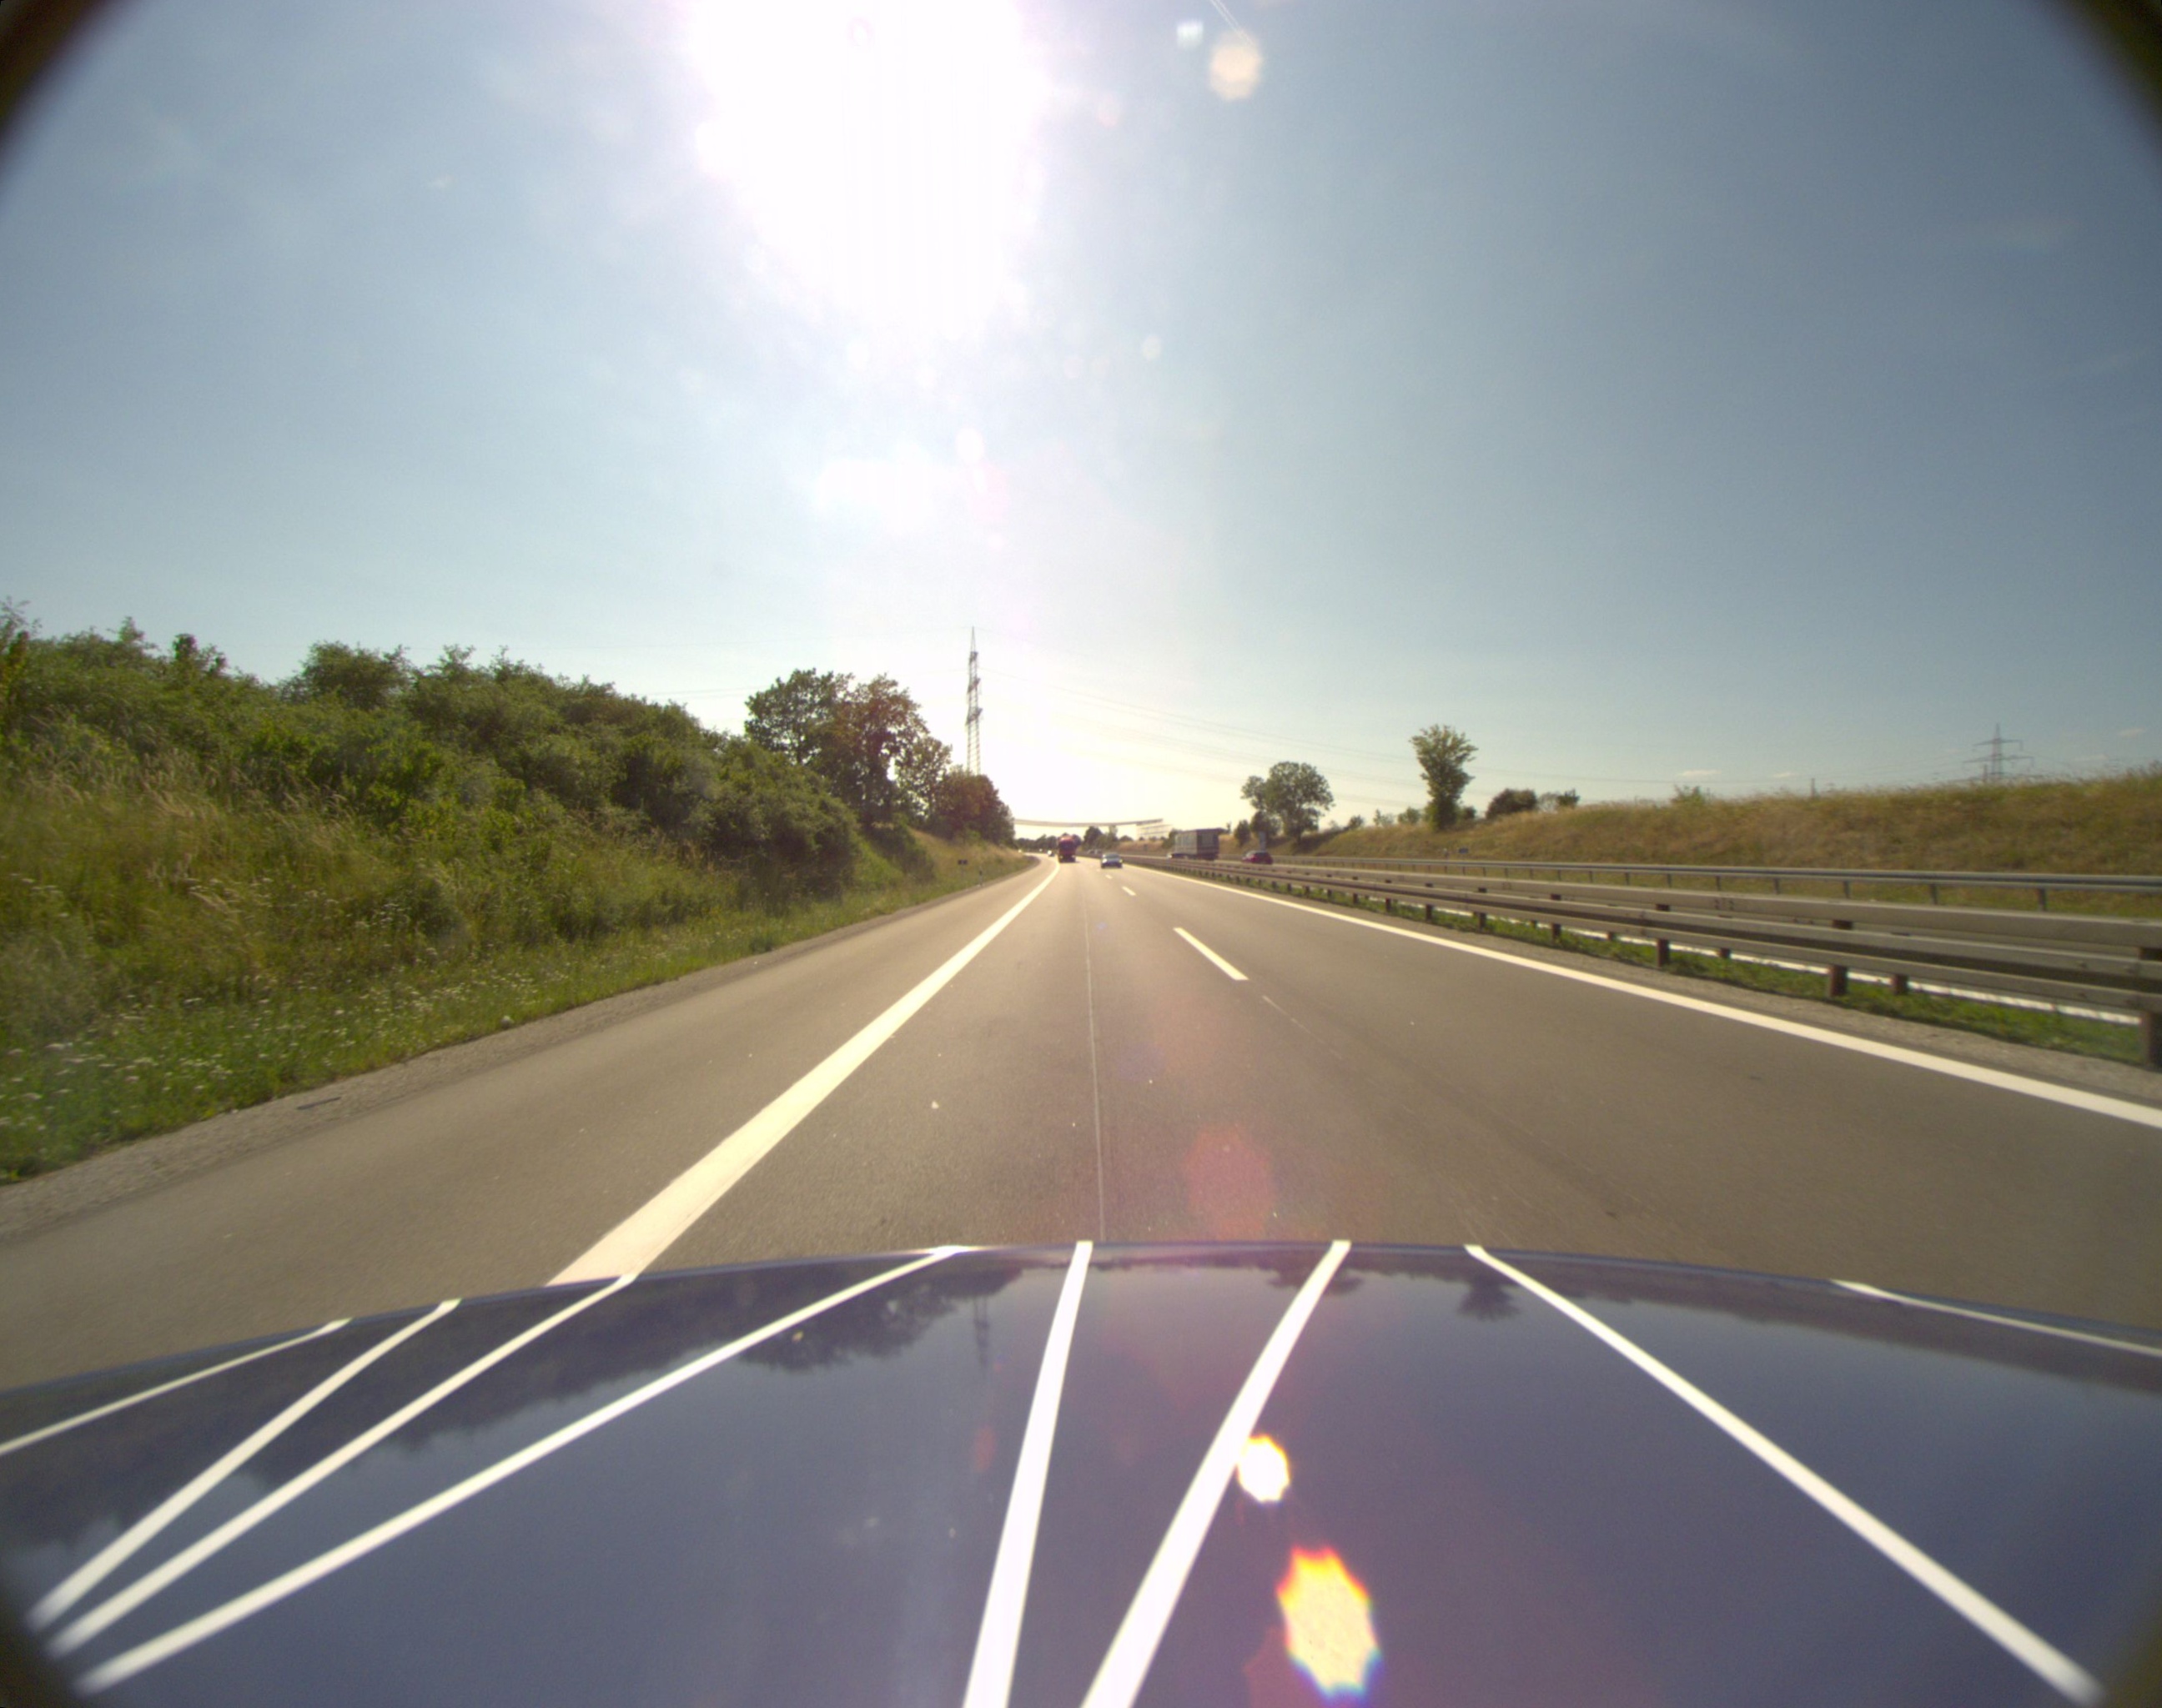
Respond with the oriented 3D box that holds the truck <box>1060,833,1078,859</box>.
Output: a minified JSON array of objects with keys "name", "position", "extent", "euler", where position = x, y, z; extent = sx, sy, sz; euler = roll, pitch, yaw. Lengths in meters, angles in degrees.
[{"name":"truck","position":[-1.768,-1.222,118.251],"extent":[2.570,3.939,8.642],"euler":[-1,1,0]}]

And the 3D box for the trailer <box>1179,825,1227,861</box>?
[{"name":"trailer","position":[14.838,-1.338,93.886],"extent":[3.623,3.975,14.045],"euler":[-1,1,0]}]

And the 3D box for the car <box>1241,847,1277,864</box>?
[{"name":"car","position":[14.769,0.093,63.157],"extent":[1.910,1.352,4.553],"euler":[-1,1,0]}]

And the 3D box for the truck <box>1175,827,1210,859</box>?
[{"name":"truck","position":[14.801,-1.425,101.126],"extent":[3.623,3.976,6.123],"euler":[-1,1,0]}]

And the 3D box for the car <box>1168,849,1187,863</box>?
[{"name":"car","position":[10.586,0.224,83.321],"extent":[1.589,1.422,3.926],"euler":[-1,1,0]}]

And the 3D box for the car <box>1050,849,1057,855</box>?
[{"name":"car","position":[-7.858,-0.598,218.964],"extent":[1.910,1.422,4.553],"euler":[-1,1,0]}]

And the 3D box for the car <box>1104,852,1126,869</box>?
[{"name":"car","position":[3.191,0.576,72.061],"extent":[1.852,1.424,5.865],"euler":[1,1,0]}]

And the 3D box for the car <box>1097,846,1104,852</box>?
[{"name":"car","position":[5.253,-1.266,202.311],"extent":[1.729,1.422,4.221],"euler":[-1,1,0]}]
